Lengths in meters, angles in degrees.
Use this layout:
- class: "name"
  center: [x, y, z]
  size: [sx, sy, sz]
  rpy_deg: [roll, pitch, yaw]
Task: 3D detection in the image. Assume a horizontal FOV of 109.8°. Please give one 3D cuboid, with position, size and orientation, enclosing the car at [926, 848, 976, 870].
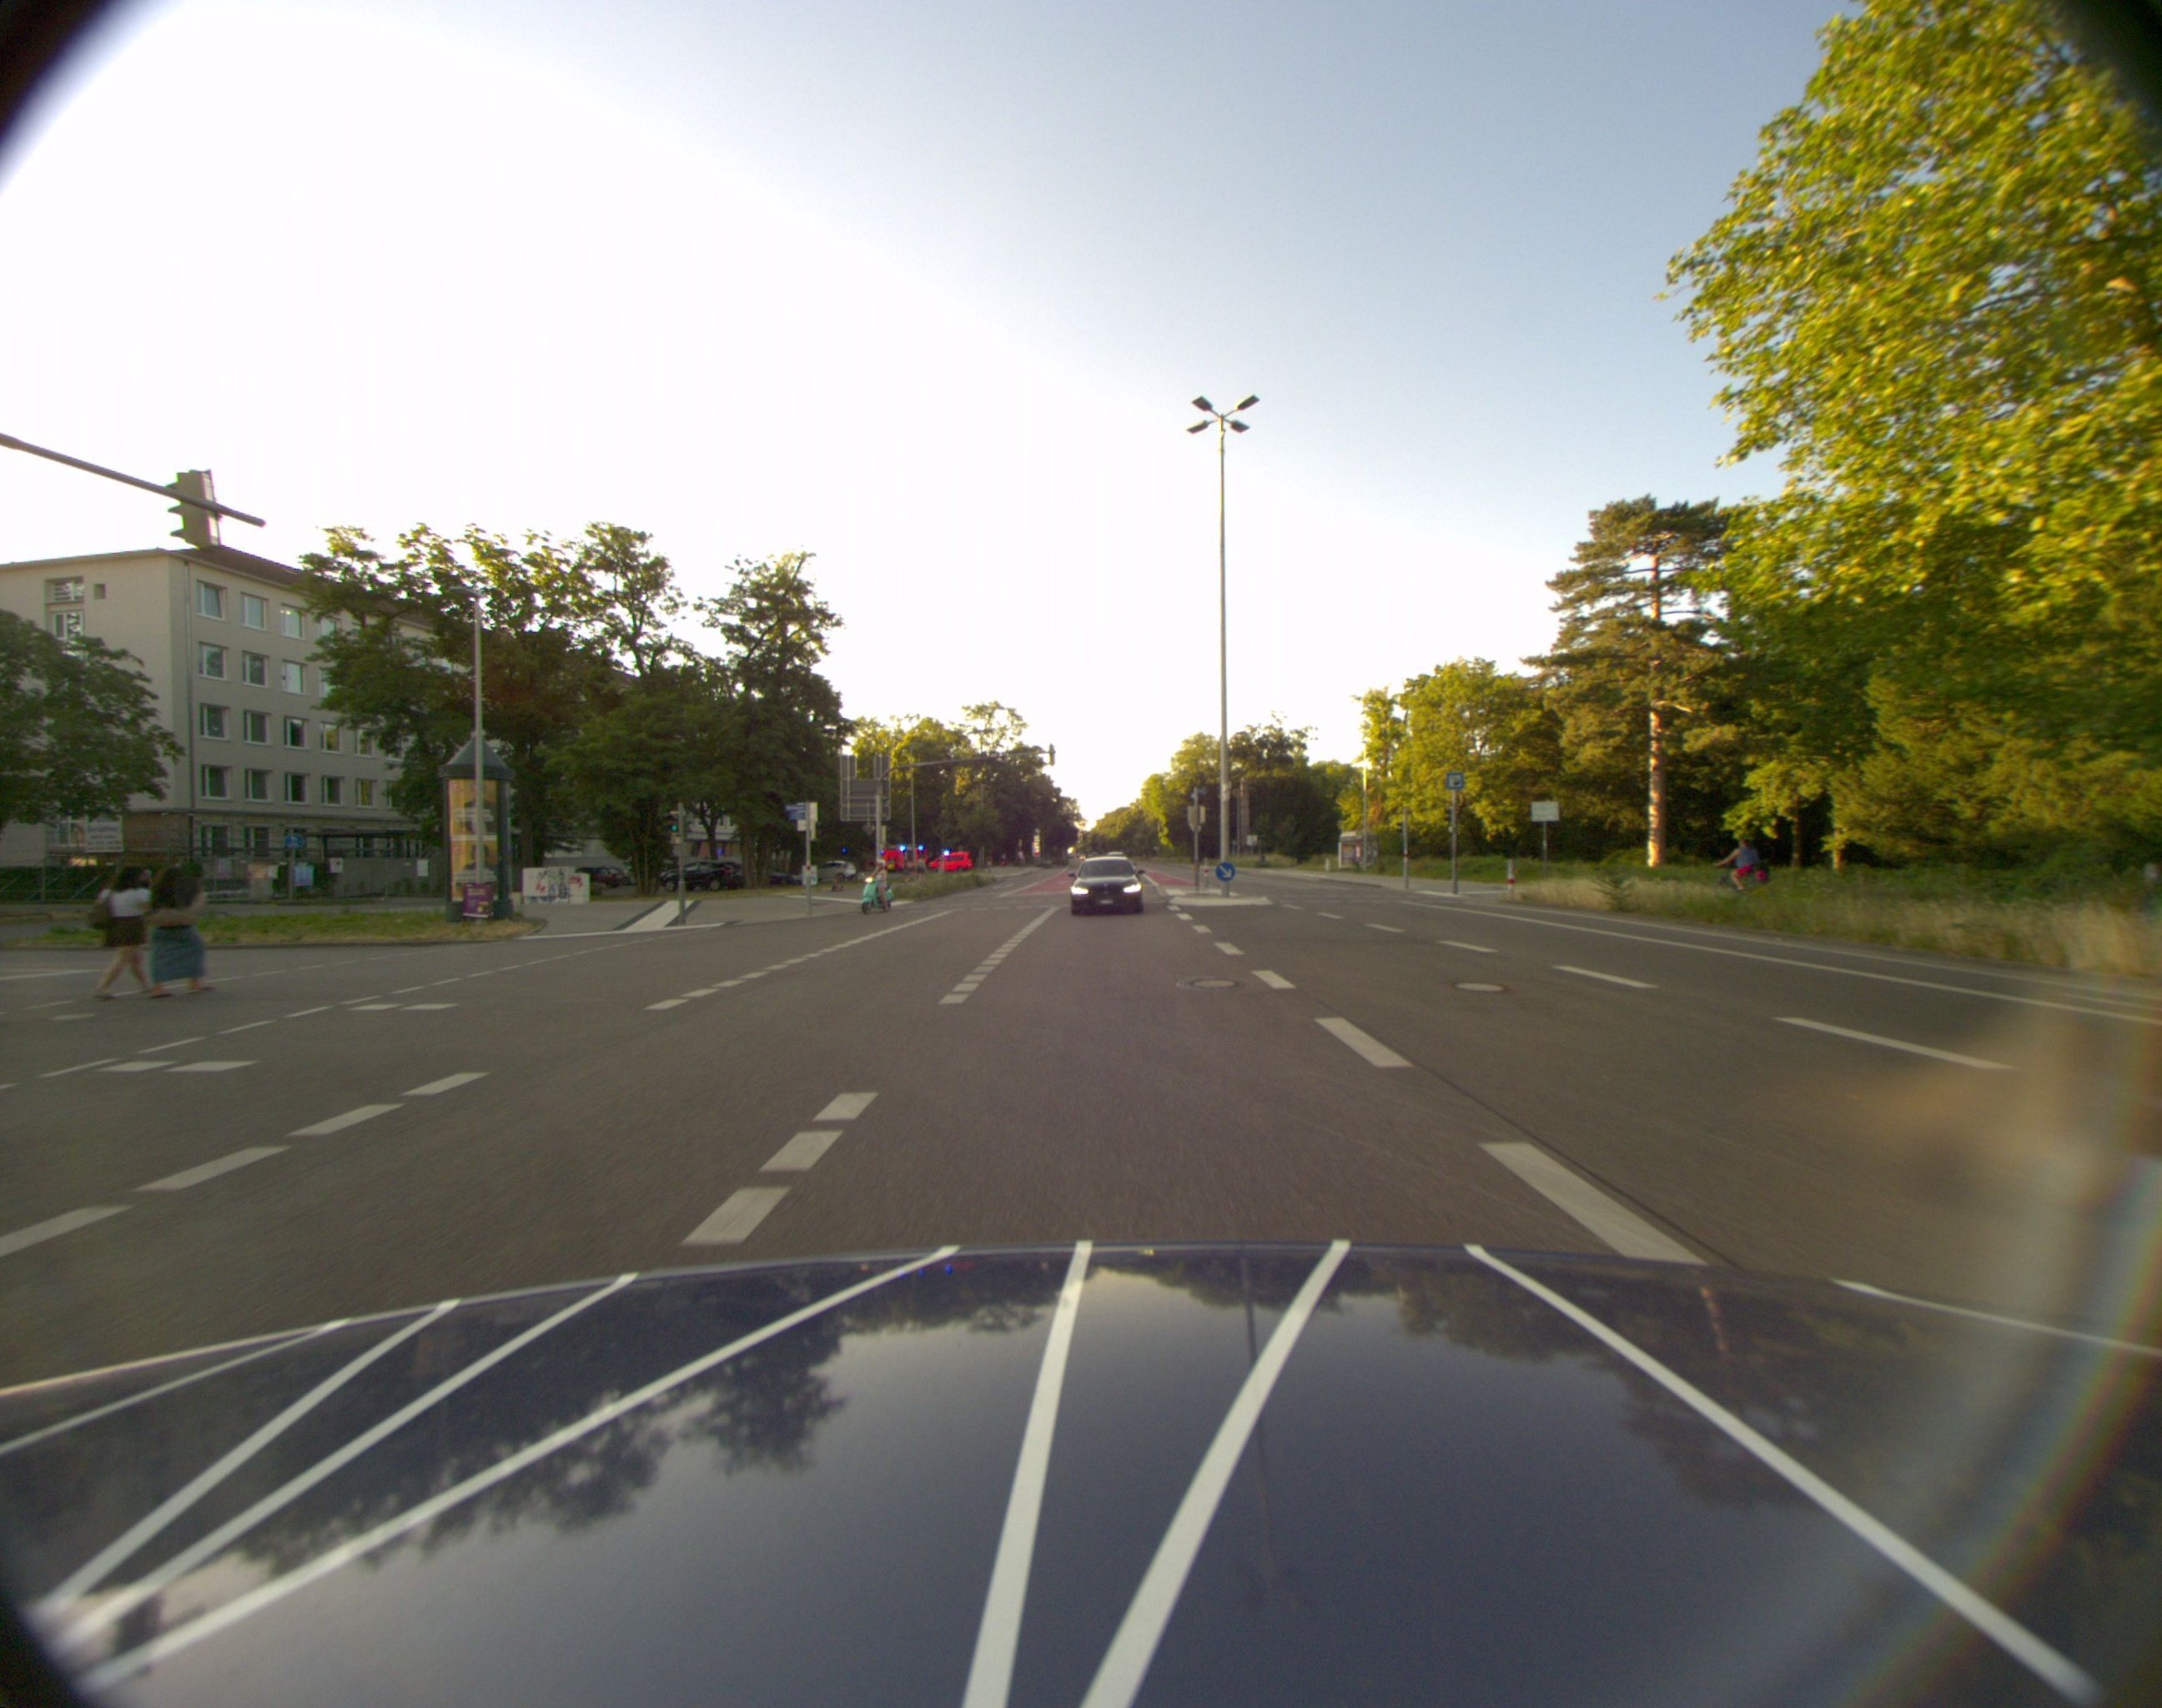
- class: "car"
  center: [-14.652, 0.561, 85.633]
  size: [5.163, 2.379, 2.001]
  rpy_deg: [-1, 1, 5]

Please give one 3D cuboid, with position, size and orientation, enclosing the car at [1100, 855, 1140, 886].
- class: "car"
  center: [1.952, 0.811, 39.303]
  size: [1.850, 1.346, 4.703]
  rpy_deg: [-3, 0, 1]

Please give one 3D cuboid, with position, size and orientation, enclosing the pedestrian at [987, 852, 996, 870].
- class: "pedestrian"
  center: [-8.059, 0.608, 68.578]
  size: [0.682, 1.613, 0.688]
  rpy_deg: [-1, 0, 3]

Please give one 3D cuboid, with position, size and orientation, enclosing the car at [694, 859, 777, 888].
- class: "car"
  center: [-20.189, 1.133, 44.519]
  size: [3.994, 1.601, 1.920]
  rpy_deg: [-1, 0, 10]

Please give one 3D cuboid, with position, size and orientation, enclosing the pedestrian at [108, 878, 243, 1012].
- class: "pedestrian"
  center: [-11.533, 1.124, 9.712]
  size: [0.682, 1.613, 0.845]
  rpy_deg: [-1, 0, 3]

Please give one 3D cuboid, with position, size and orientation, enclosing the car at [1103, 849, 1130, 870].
- class: "car"
  center: [2.697, 0.408, 58.574]
  size: [1.850, 1.473, 4.703]
  rpy_deg: [-3, 0, 1]

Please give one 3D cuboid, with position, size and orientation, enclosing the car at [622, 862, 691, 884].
- class: "car"
  center: [-30.295, 1.354, 54.282]
  size: [3.910, 1.513, 1.919]
  rpy_deg: [-1, 0, 11]

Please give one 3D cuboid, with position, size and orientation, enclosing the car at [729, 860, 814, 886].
- class: "car"
  center: [-19.297, 1.174, 47.519]
  size: [4.515, 1.455, 1.919]
  rpy_deg: [-1, 0, 5]

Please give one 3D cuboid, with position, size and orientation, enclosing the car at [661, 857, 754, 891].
- class: "car"
  center: [-20.456, 1.083, 41.691]
  size: [4.233, 1.730, 1.920]
  rpy_deg: [-1, 1, 8]

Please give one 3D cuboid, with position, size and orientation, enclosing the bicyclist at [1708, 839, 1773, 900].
- class: "bicyclist"
  center: [15.794, 0.365, 18.215]
  size: [0.791, 1.419, 0.892]
  rpy_deg: [-1, 1, 2]

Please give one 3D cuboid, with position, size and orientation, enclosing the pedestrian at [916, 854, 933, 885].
- class: "pedestrian"
  center: [-8.553, 0.859, 41.477]
  size: [0.721, 1.650, 0.776]
  rpy_deg: [-1, 1, -1]

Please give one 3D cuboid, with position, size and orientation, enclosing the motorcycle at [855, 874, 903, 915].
- class: "motorcycle"
  center: [-6.396, 1.276, 24.166]
  size: [0.683, 1.190, 1.895]
  rpy_deg: [-2, 0, 11]

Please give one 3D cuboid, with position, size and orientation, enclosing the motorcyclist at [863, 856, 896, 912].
- class: "motorcyclist"
  center: [-6.410, 0.938, 24.168]
  size: [0.739, 1.727, 0.691]
  rpy_deg: [-2, 0, 11]

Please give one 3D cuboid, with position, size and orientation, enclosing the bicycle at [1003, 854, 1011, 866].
- class: "bicycle"
  center: [-8.039, 0.672, 82.740]
  size: [0.571, 1.233, 1.899]
  rpy_deg: [-1, 0, 3]

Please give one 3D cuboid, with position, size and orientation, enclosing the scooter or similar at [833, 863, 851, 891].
- class: "scooter or similar"
  center: [-11.263, 1.068, 35.844]
  size: [0.441, 1.264, 1.179]
  rpy_deg: [-1, 1, 2]

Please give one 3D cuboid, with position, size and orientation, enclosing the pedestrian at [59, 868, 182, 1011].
- class: "pedestrian"
  center: [-12.296, 1.066, 9.746]
  size: [0.682, 1.744, 0.688]
  rpy_deg: [-1, 0, 3]

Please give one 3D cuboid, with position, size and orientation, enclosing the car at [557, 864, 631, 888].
- class: "car"
  center: [-31.269, 1.421, 48.851]
  size: [3.624, 1.451, 1.771]
  rpy_deg: [-1, 0, 4]

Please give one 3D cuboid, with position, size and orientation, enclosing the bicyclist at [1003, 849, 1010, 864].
- class: "bicyclist"
  center: [-8.054, 0.245, 82.496]
  size: [0.571, 1.623, 1.038]
  rpy_deg: [-1, 1, 3]

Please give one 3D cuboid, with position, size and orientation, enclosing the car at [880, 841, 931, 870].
- class: "car"
  center: [-20.245, 0.142, 88.368]
  size: [2.769, 3.224, 8.303]
  rpy_deg: [-1, 0, 9]

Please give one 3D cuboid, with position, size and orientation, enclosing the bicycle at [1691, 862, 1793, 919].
- class: "bicycle"
  center: [15.805, 0.852, 18.246]
  size: [0.791, 1.249, 1.980]
  rpy_deg: [-1, 1, 2]

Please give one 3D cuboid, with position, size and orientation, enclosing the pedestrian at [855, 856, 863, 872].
- class: "pedestrian"
  center: [-26.238, 1.201, 89.734]
  size: [0.682, 1.831, 0.846]
  rpy_deg: [-1, 0, 6]

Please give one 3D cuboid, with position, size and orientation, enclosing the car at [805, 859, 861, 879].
- class: "car"
  center: [-18.557, 1.103, 56.920]
  size: [3.661, 1.451, 1.665]
  rpy_deg: [-1, 0, 7]

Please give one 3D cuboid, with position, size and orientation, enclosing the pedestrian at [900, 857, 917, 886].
- class: "pedestrian"
  center: [-9.440, 0.947, 41.494]
  size: [0.737, 1.514, 0.789]
  rpy_deg: [-1, 1, -1]

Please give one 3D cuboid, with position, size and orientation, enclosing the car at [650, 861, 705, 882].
- class: "car"
  center: [-30.045, 1.302, 56.602]
  size: [3.308, 1.451, 1.772]
  rpy_deg: [-1, 0, 16]

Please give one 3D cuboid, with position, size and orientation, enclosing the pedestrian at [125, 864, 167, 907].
- class: "pedestrian"
  center: [-37.907, 1.265, 30.812]
  size: [0.895, 1.729, 0.705]
  rpy_deg: [-1, 1, 11]

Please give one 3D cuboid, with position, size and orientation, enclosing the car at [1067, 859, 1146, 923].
- class: "car"
  center: [0.651, 0.881, 20.381]
  size: [1.818, 1.391, 5.213]
  rpy_deg: [-1, 0, 1]
